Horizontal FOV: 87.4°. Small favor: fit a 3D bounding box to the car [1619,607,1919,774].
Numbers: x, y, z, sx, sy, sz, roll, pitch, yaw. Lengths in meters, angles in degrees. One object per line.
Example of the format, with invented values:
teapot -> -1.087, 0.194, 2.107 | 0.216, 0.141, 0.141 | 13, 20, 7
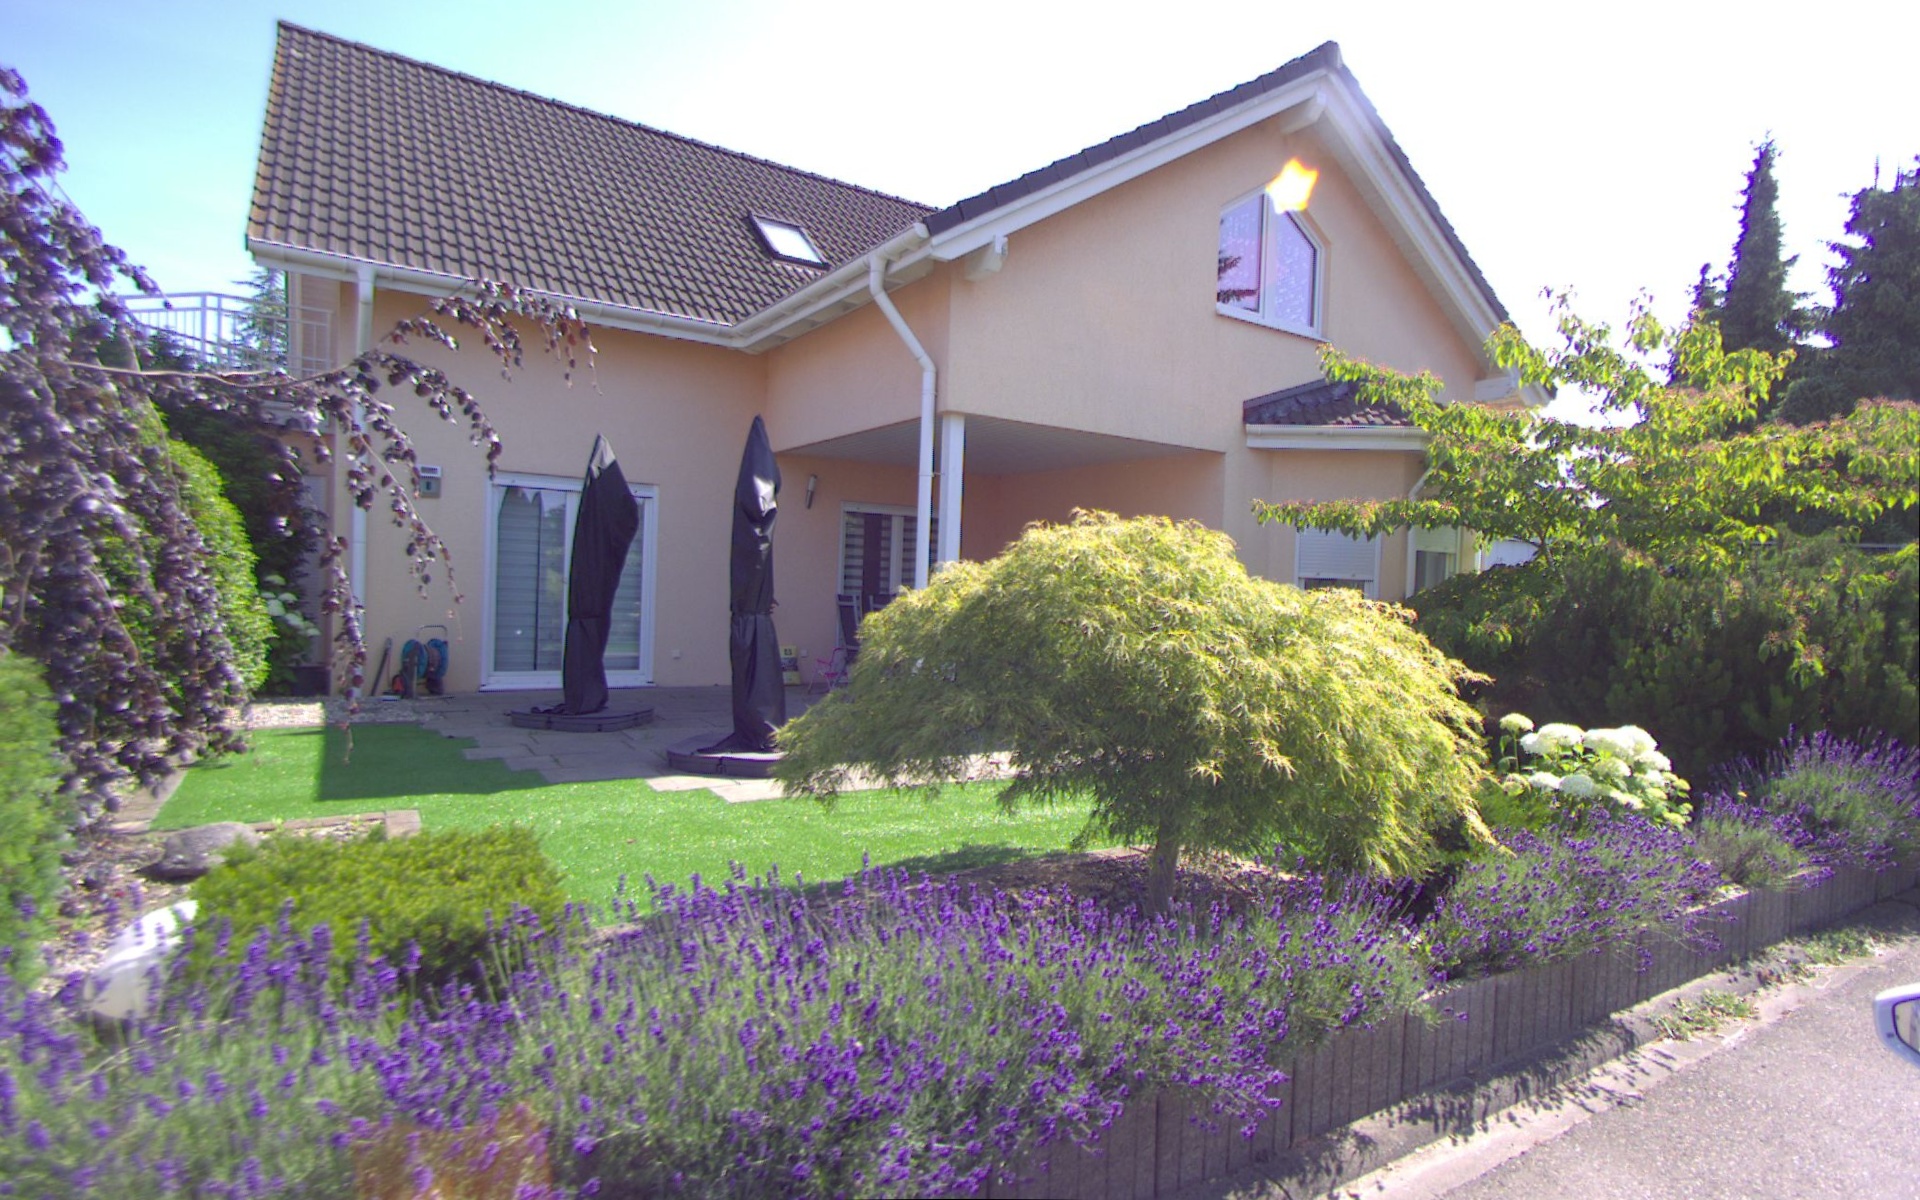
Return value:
car -> 9.385, 0.894, 10.551 | 1.738, 1.465, 3.712 | 1, 2, -34
